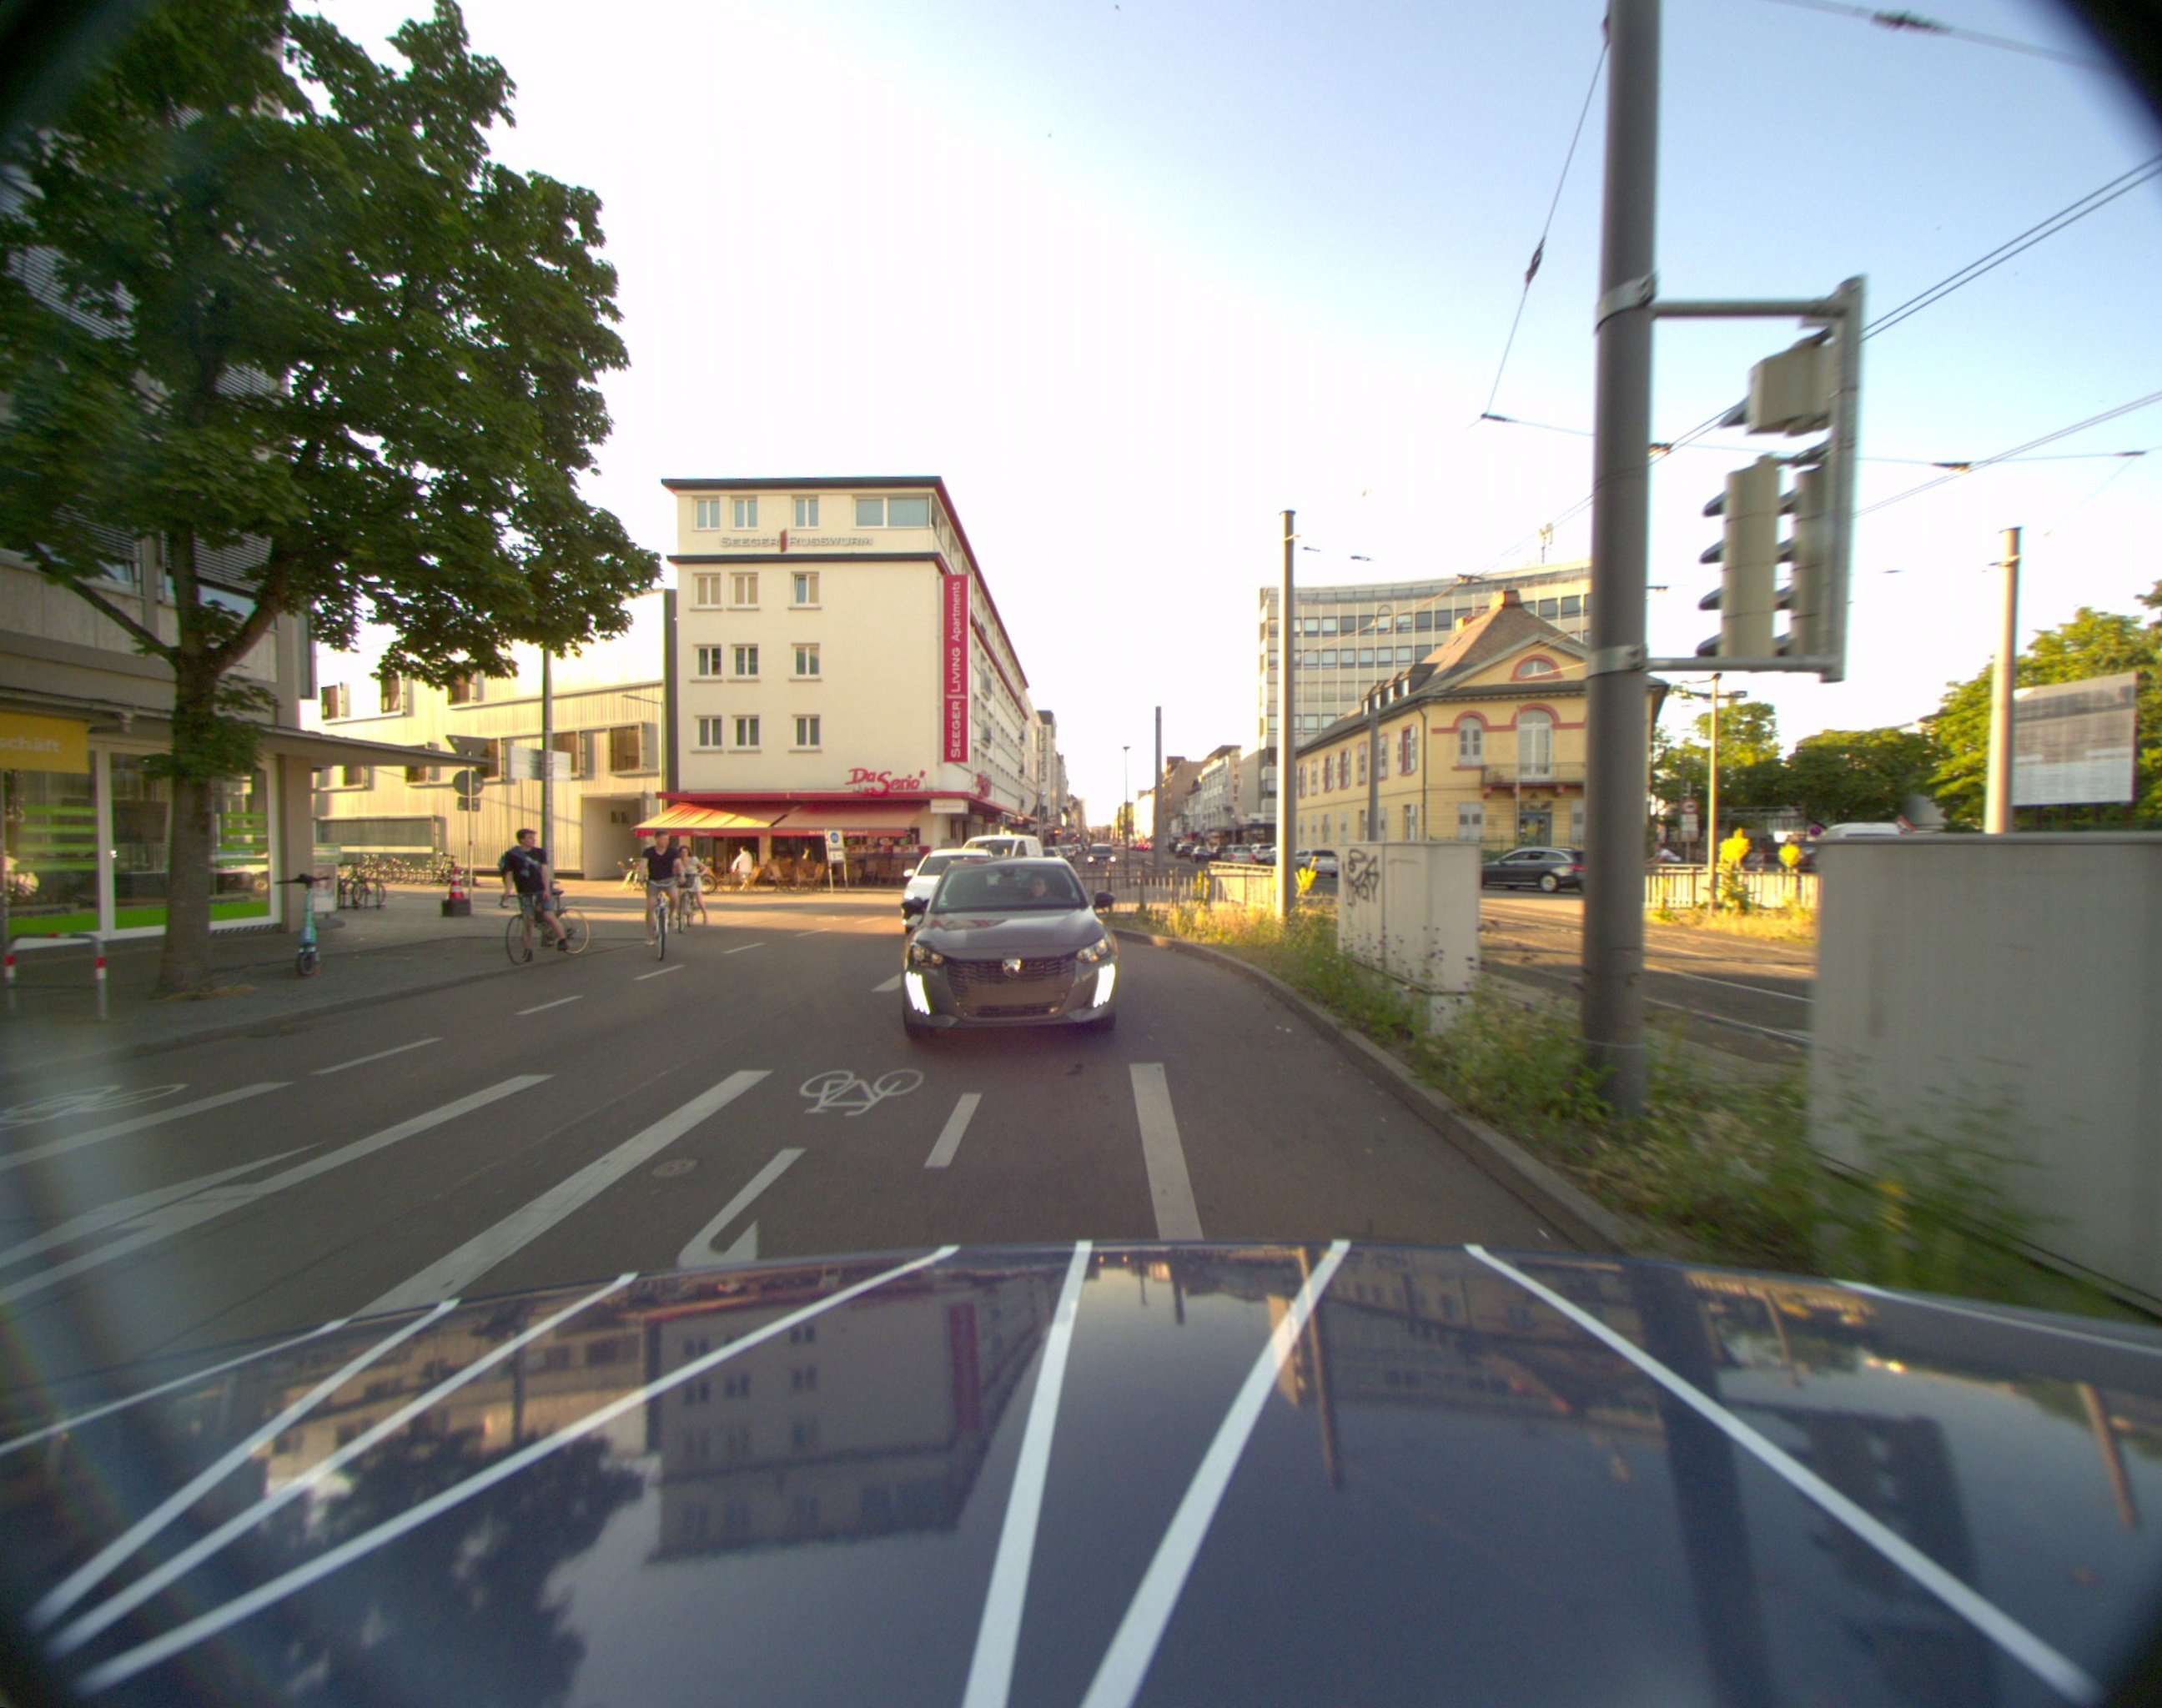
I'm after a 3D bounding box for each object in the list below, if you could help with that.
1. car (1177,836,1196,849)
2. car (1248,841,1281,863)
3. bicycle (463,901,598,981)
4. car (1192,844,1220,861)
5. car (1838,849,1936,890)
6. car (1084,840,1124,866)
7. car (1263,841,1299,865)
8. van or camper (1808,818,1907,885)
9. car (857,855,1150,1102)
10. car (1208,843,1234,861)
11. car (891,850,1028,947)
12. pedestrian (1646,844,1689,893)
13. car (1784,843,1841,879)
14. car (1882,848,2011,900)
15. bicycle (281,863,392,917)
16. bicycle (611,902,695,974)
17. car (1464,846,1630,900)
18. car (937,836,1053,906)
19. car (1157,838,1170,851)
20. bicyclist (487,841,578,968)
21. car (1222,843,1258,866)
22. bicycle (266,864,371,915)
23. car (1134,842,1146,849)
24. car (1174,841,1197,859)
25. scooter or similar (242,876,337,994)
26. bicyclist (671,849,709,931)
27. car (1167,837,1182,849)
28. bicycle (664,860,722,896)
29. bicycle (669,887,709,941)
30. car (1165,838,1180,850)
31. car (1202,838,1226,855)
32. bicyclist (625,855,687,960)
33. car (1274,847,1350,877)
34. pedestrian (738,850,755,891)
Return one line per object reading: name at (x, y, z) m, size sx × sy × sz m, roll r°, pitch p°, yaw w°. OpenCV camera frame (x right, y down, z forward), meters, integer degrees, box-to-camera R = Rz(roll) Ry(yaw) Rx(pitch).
car at (15.257, -1.660, 110.064) m, size 1.999 × 1.937 × 3.998 m, roll 0°, pitch 1°, yaw -2°
car at (14.600, -0.194, 60.661) m, size 1.736 × 1.698 × 3.805 m, roll 0°, pitch 1°, yaw 0°
bicycle at (-7.642, 1.181, 10.657) m, size 0.675 × 0.896 × 1.689 m, roll 0°, pitch 1°, yaw -2°
car at (11.078, -0.169, 67.471) m, size 2.017 × 1.420 × 4.656 m, roll 0°, pitch 1°, yaw 4°
car at (31.100, 0.540, 29.457) m, size 1.729 × 1.421 × 4.483 m, roll 2°, pitch 2°, yaw 35°
car at (1.515, -0.103, 48.657) m, size 1.997 × 1.565 × 4.305 m, roll 0°, pitch 1°, yaw 10°
car at (14.652, -0.106, 55.745) m, size 1.736 × 1.698 × 3.438 m, roll 0°, pitch 1°, yaw 0°
van or camper at (34.713, -0.142, 34.166) m, size 2.077 × 2.759 × 6.463 m, roll 2°, pitch 1°, yaw 37°
car at (-0.790, 0.811, 7.357) m, size 1.917 × 1.495 × 4.698 m, roll 0°, pitch 1°, yaw -8°
car at (14.981, -0.222, 81.497) m, size 1.999 × 1.890 × 3.998 m, roll 0°, pitch 1°, yaw -2°
car at (-2.136, 0.712, 14.607) m, size 1.815 × 1.441 × 4.561 m, roll 0°, pitch 2°, yaw 1°
pedestrian at (18.461, 0.440, 23.908) m, size 1.041 × 1.494 × 1.007 m, roll 1°, pitch 2°, yaw 38°
car at (40.707, 0.337, 42.384) m, size 1.713 × 1.838 × 4.030 m, roll 2°, pitch 2°, yaw 36°
car at (28.848, 0.594, 25.495) m, size 1.779 × 1.535 × 4.299 m, roll 1°, pitch 2°, yaw 34°
bicycle at (-17.399, 0.822, 17.811) m, size 0.553 × 1.179 × 1.783 m, roll 0°, pitch -1°, yaw 18°
bicycle at (-6.215, 1.182, 11.124) m, size 0.615 × 0.820 × 1.803 m, roll 0°, pitch 1°, yaw -14°
car at (15.036, 0.546, 24.836) m, size 2.001 × 1.508 × 4.408 m, roll -3°, pitch 2°, yaw -16°
car at (-2.363, 0.423, 22.322) m, size 1.997 × 1.827 × 4.879 m, roll 0°, pitch 1°, yaw 11°
car at (15.505, -1.811, 142.969) m, size 1.999 × 2.363 × 3.999 m, roll 0°, pitch 1°, yaw -2°
bicyclist at (-7.642, 0.674, 10.620) m, size 0.666 × 1.718 × 0.810 m, roll 0°, pitch 2°, yaw -2°
car at (11.333, 0.006, 54.491) m, size 1.838 × 1.589 × 4.072 m, roll 0°, pitch 1°, yaw 2°
bicycle at (-18.343, 0.839, 18.327) m, size 0.538 × 1.179 × 1.721 m, roll 0°, pitch -1°, yaw 18°
car at (12.619, -1.875, 162.687) m, size 1.849 × 1.499 × 3.998 m, roll 0°, pitch 1°, yaw -3°
car at (11.669, -0.435, 85.216) m, size 1.999 × 1.979 × 4.118 m, roll 0°, pitch 1°, yaw 0°
scooter or similar at (-9.675, 0.949, 9.279) m, size 1.277 × 1.314 × 0.516 m, roll 1°, pitch 2°, yaw 32°
bicyclist at (-7.290, 0.654, 14.197) m, size 0.589 × 1.479 × 0.716 m, roll -1°, pitch 2°, yaw -26°
car at (15.943, -1.873, 129.756) m, size 1.999 × 1.936 × 3.999 m, roll 0°, pitch 1°, yaw -2°
bicycle at (-13.078, 0.794, 25.642) m, size 1.632 × 1.161 × 0.600 m, roll 0°, pitch 4°, yaw 6°
bicycle at (-7.284, 1.087, 14.176) m, size 0.601 × 0.820 × 1.736 m, roll -1°, pitch 1°, yaw -25°
car at (16.346, -1.732, 135.964) m, size 1.999 × 2.002 × 3.998 m, roll -2°, pitch 2°, yaw -3°
car at (15.197, -0.876, 87.086) m, size 1.999 × 1.936 × 3.999 m, roll 0°, pitch 0°, yaw -2°
bicyclist at (-6.226, 0.755, 11.158) m, size 0.614 × 1.479 × 0.717 m, roll 0°, pitch 2°, yaw -14°
car at (11.499, 0.357, 38.150) m, size 1.916 × 1.402 × 4.333 m, roll 0°, pitch 1°, yaw -9°
pedestrian at (-11.989, 0.570, 27.215) m, size 0.509 × 1.441 × 0.506 m, roll -1°, pitch 2°, yaw -25°
